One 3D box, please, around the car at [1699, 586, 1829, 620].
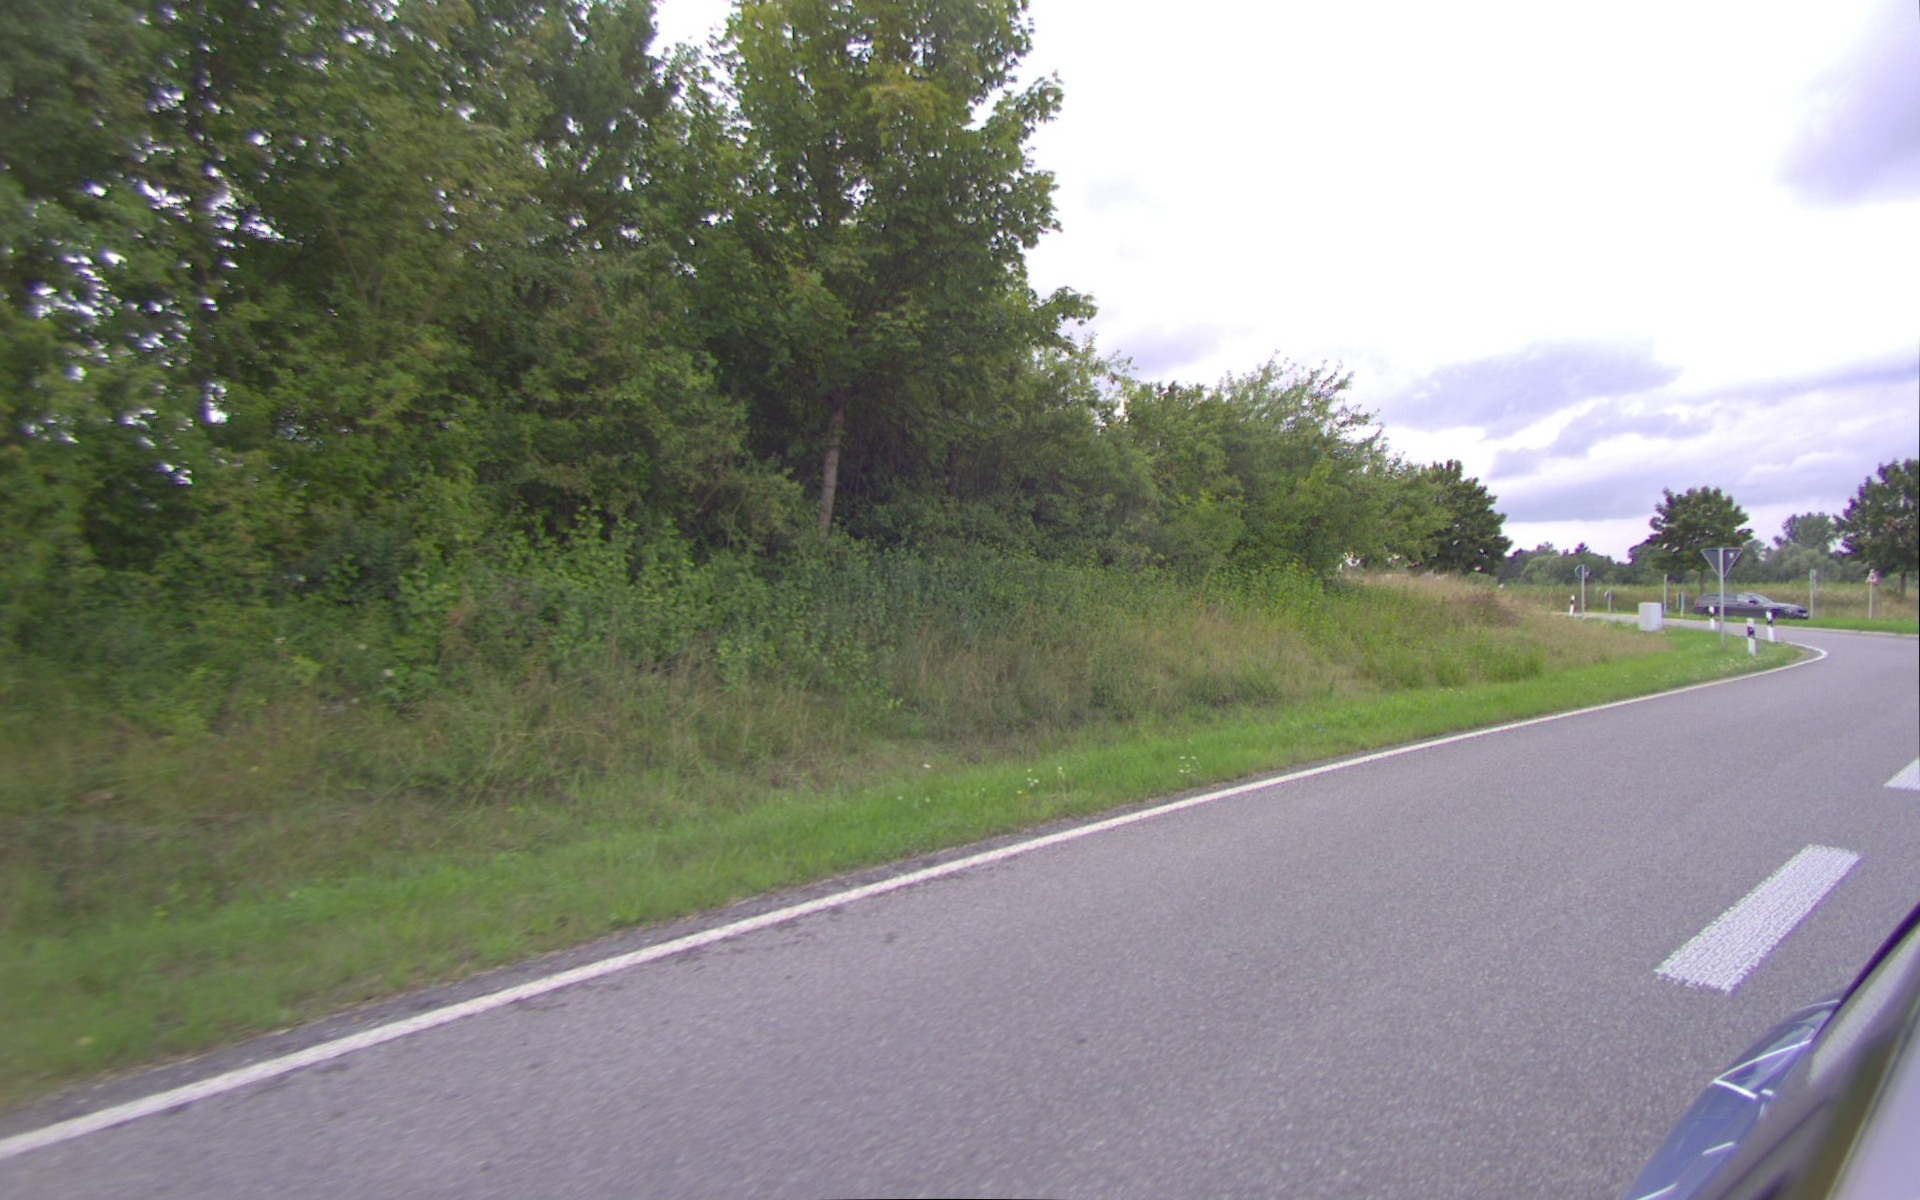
[{"bbox_3d":[39.702,0.097,50.097,1.960,1.522,4.672,0,1,-31],"label":"car"}]
